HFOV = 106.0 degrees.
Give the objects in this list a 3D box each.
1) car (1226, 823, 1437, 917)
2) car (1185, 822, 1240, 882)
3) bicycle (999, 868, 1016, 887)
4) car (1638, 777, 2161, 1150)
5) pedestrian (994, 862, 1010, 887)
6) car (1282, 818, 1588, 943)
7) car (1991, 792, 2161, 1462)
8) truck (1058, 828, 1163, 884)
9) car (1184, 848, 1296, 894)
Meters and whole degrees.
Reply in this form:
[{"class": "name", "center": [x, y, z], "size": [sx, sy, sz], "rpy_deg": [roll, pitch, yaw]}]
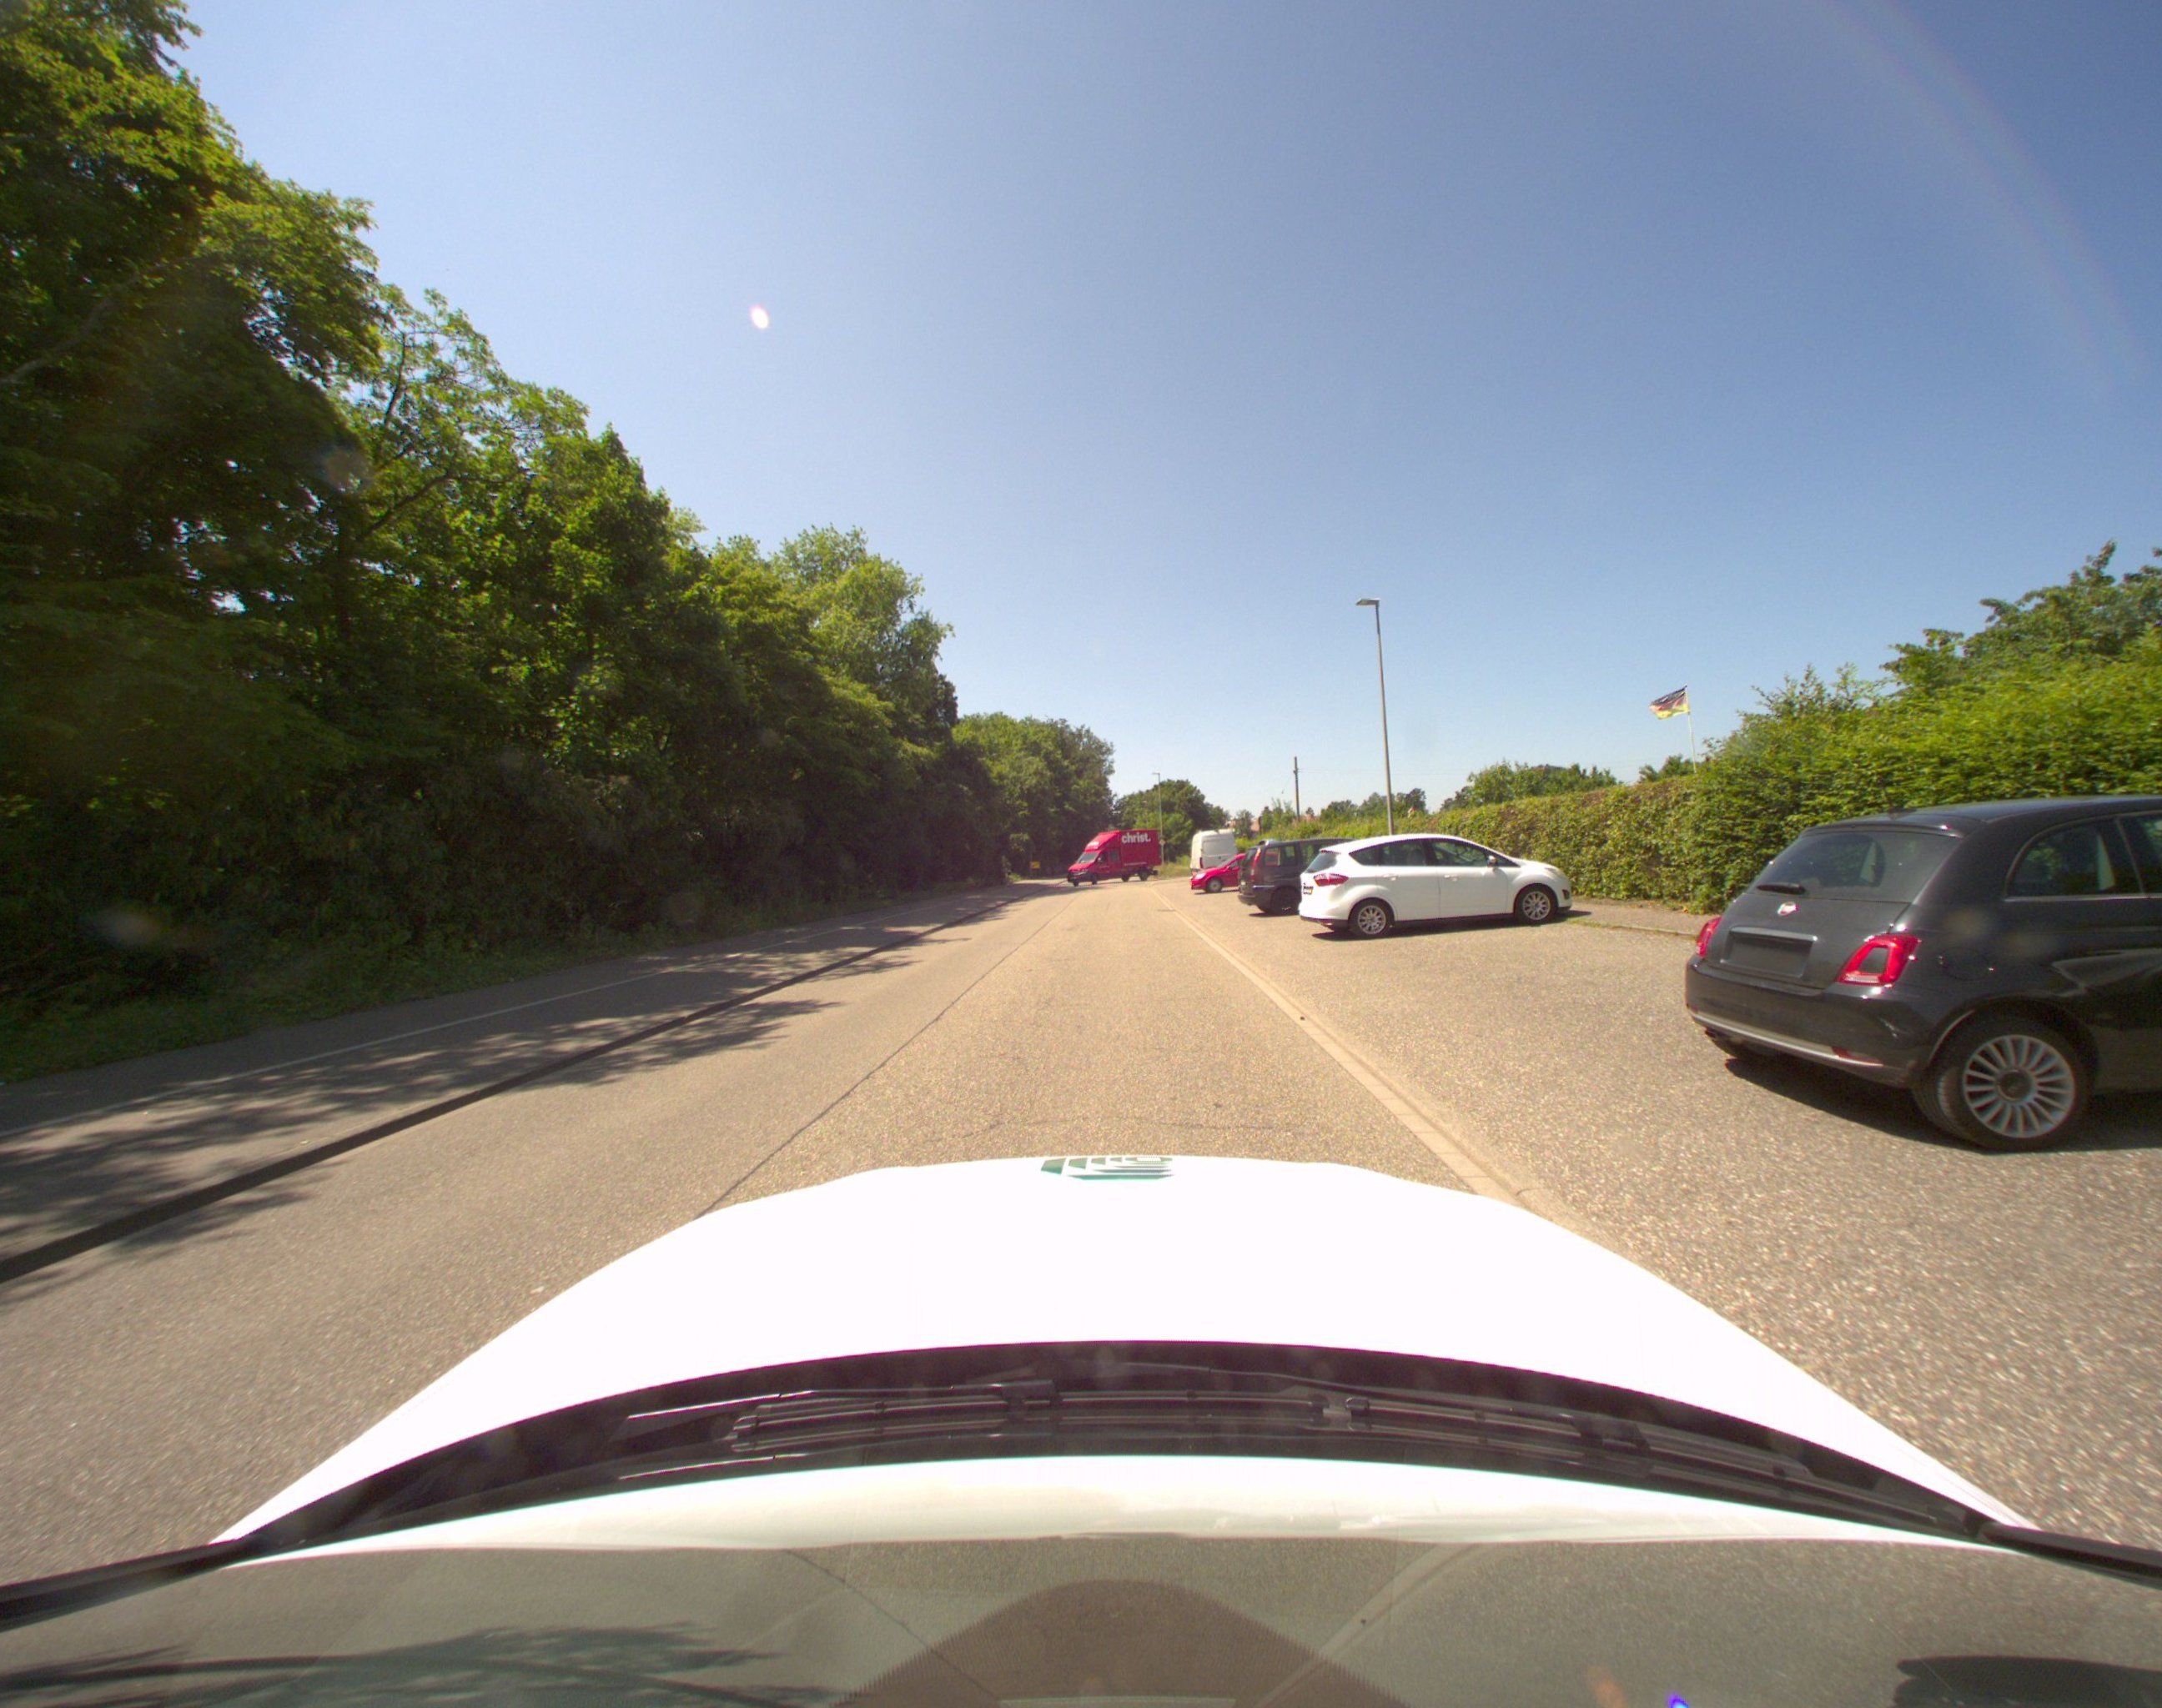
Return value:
[{"class": "car", "center": [6.012, 0.384, 19.919], "size": [4.442, 1.805, 1.951], "rpy_deg": [-5, -1, -2]}, {"class": "car", "center": [6.883, -0.082, 43.275], "size": [1.946, 2.733, 7.173], "rpy_deg": [-5, 0, 3]}, {"class": "bicycle", "center": [-5.074, 1.616, 56.165], "size": [0.517, 1.236, 1.968], "rpy_deg": [-2, -1, 15]}, {"class": "car", "center": [5.192, 0.401, 4.232], "size": [3.371, 1.504, 1.590], "rpy_deg": [-5, 0, 5]}, {"class": "pedestrian", "center": [-5.476, 1.422, 56.238], "size": [0.801, 1.718, 0.780], "rpy_deg": [-2, -1, 18]}, {"class": "car", "center": [5.781, 0.416, 13.675], "size": [4.262, 1.578, 1.765], "rpy_deg": [-5, -1, 0]}, {"class": "car", "center": [4.410, 0.420, 1.283], "size": [3.955, 1.523, 1.862], "rpy_deg": [-6, 0, -4]}, {"class": "truck", "center": [2.036, 0.040, 53.968], "size": [7.198, 3.440, 2.303], "rpy_deg": [-2, 1, -40]}, {"class": "car", "center": [6.341, 0.656, 32.792], "size": [4.042, 1.434, 1.835], "rpy_deg": [-5, -1, -1]}]
